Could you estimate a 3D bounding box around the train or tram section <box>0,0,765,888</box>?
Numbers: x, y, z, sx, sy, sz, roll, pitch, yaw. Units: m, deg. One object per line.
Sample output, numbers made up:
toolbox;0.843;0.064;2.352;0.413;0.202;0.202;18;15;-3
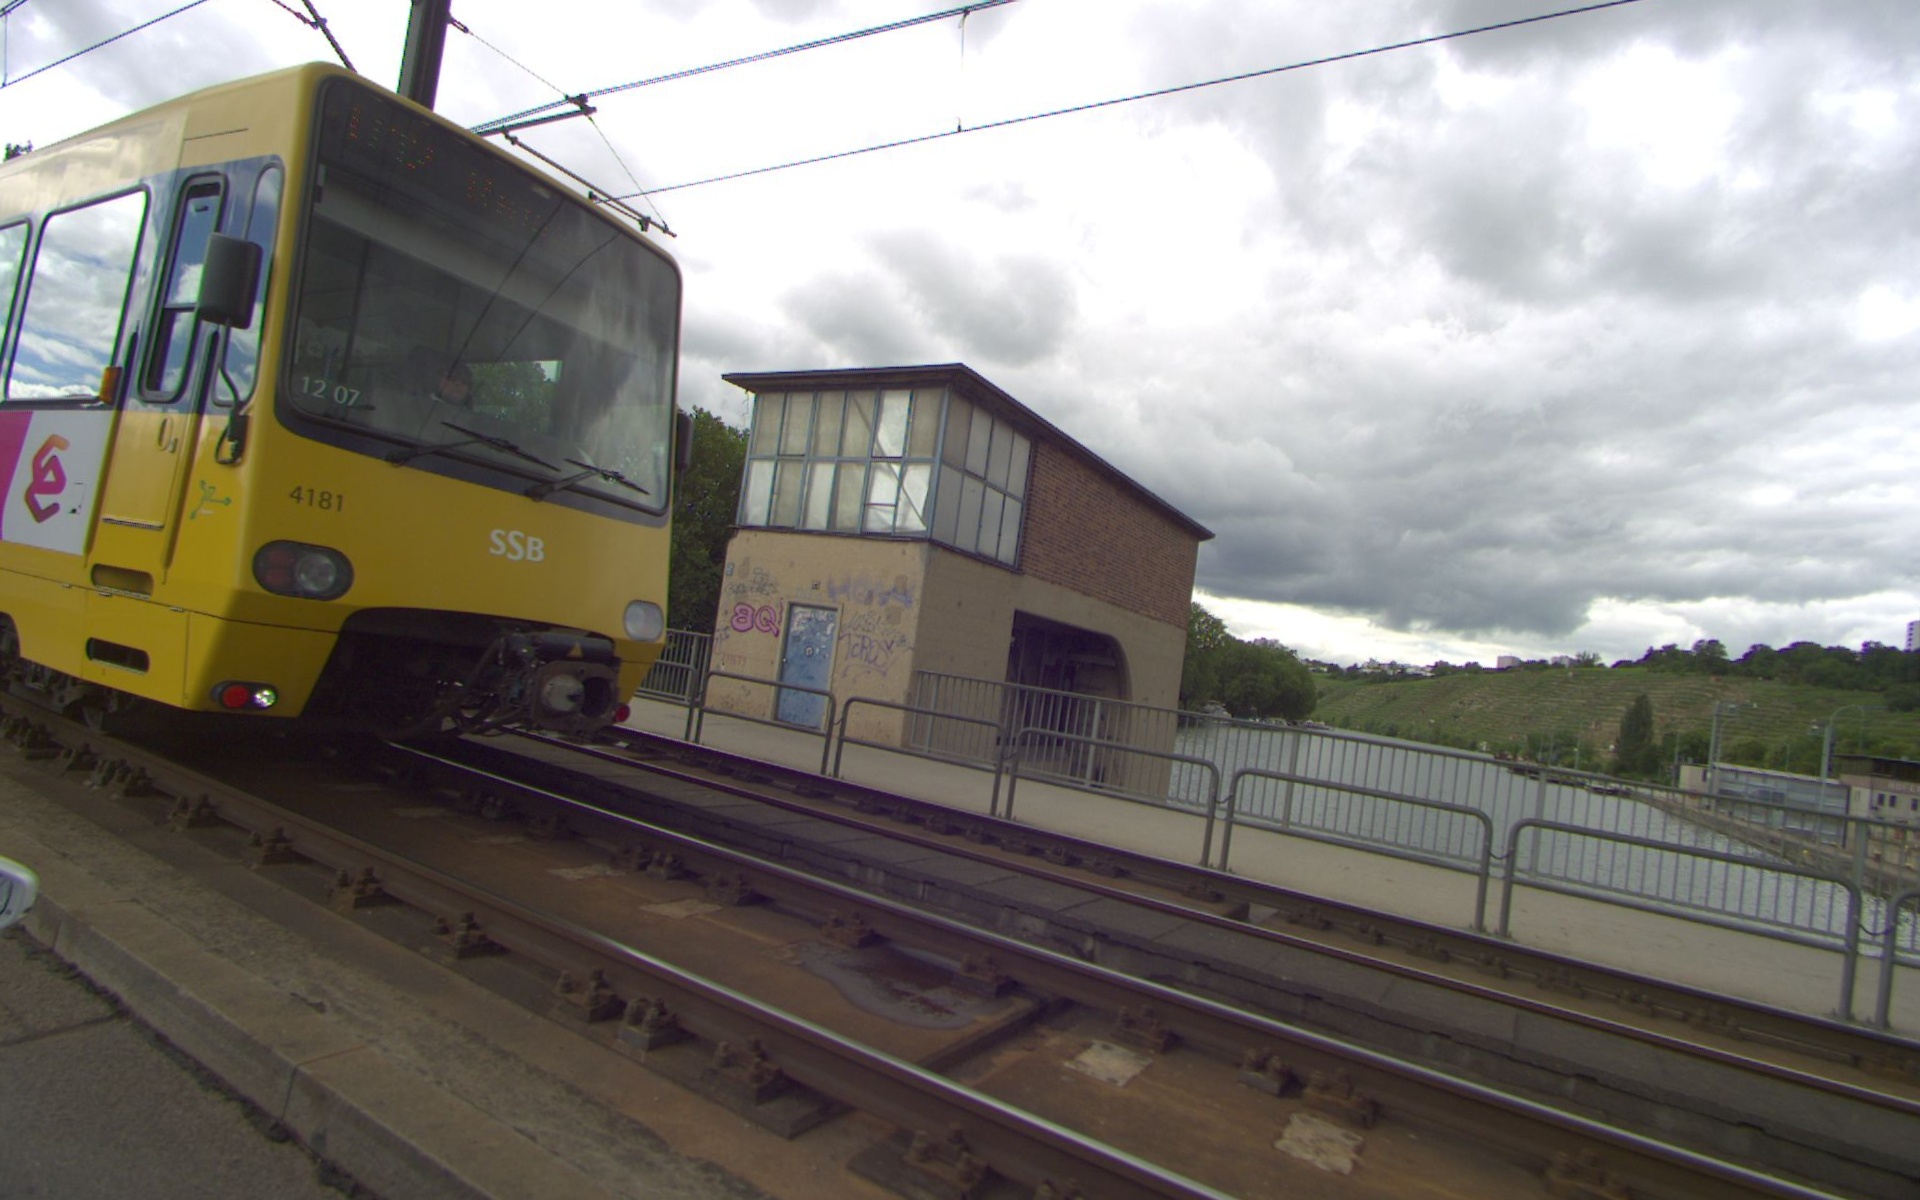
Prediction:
train or tram section;-9.990;-1.401;9.967;18.354;3.551;2.887;7;-1;31
